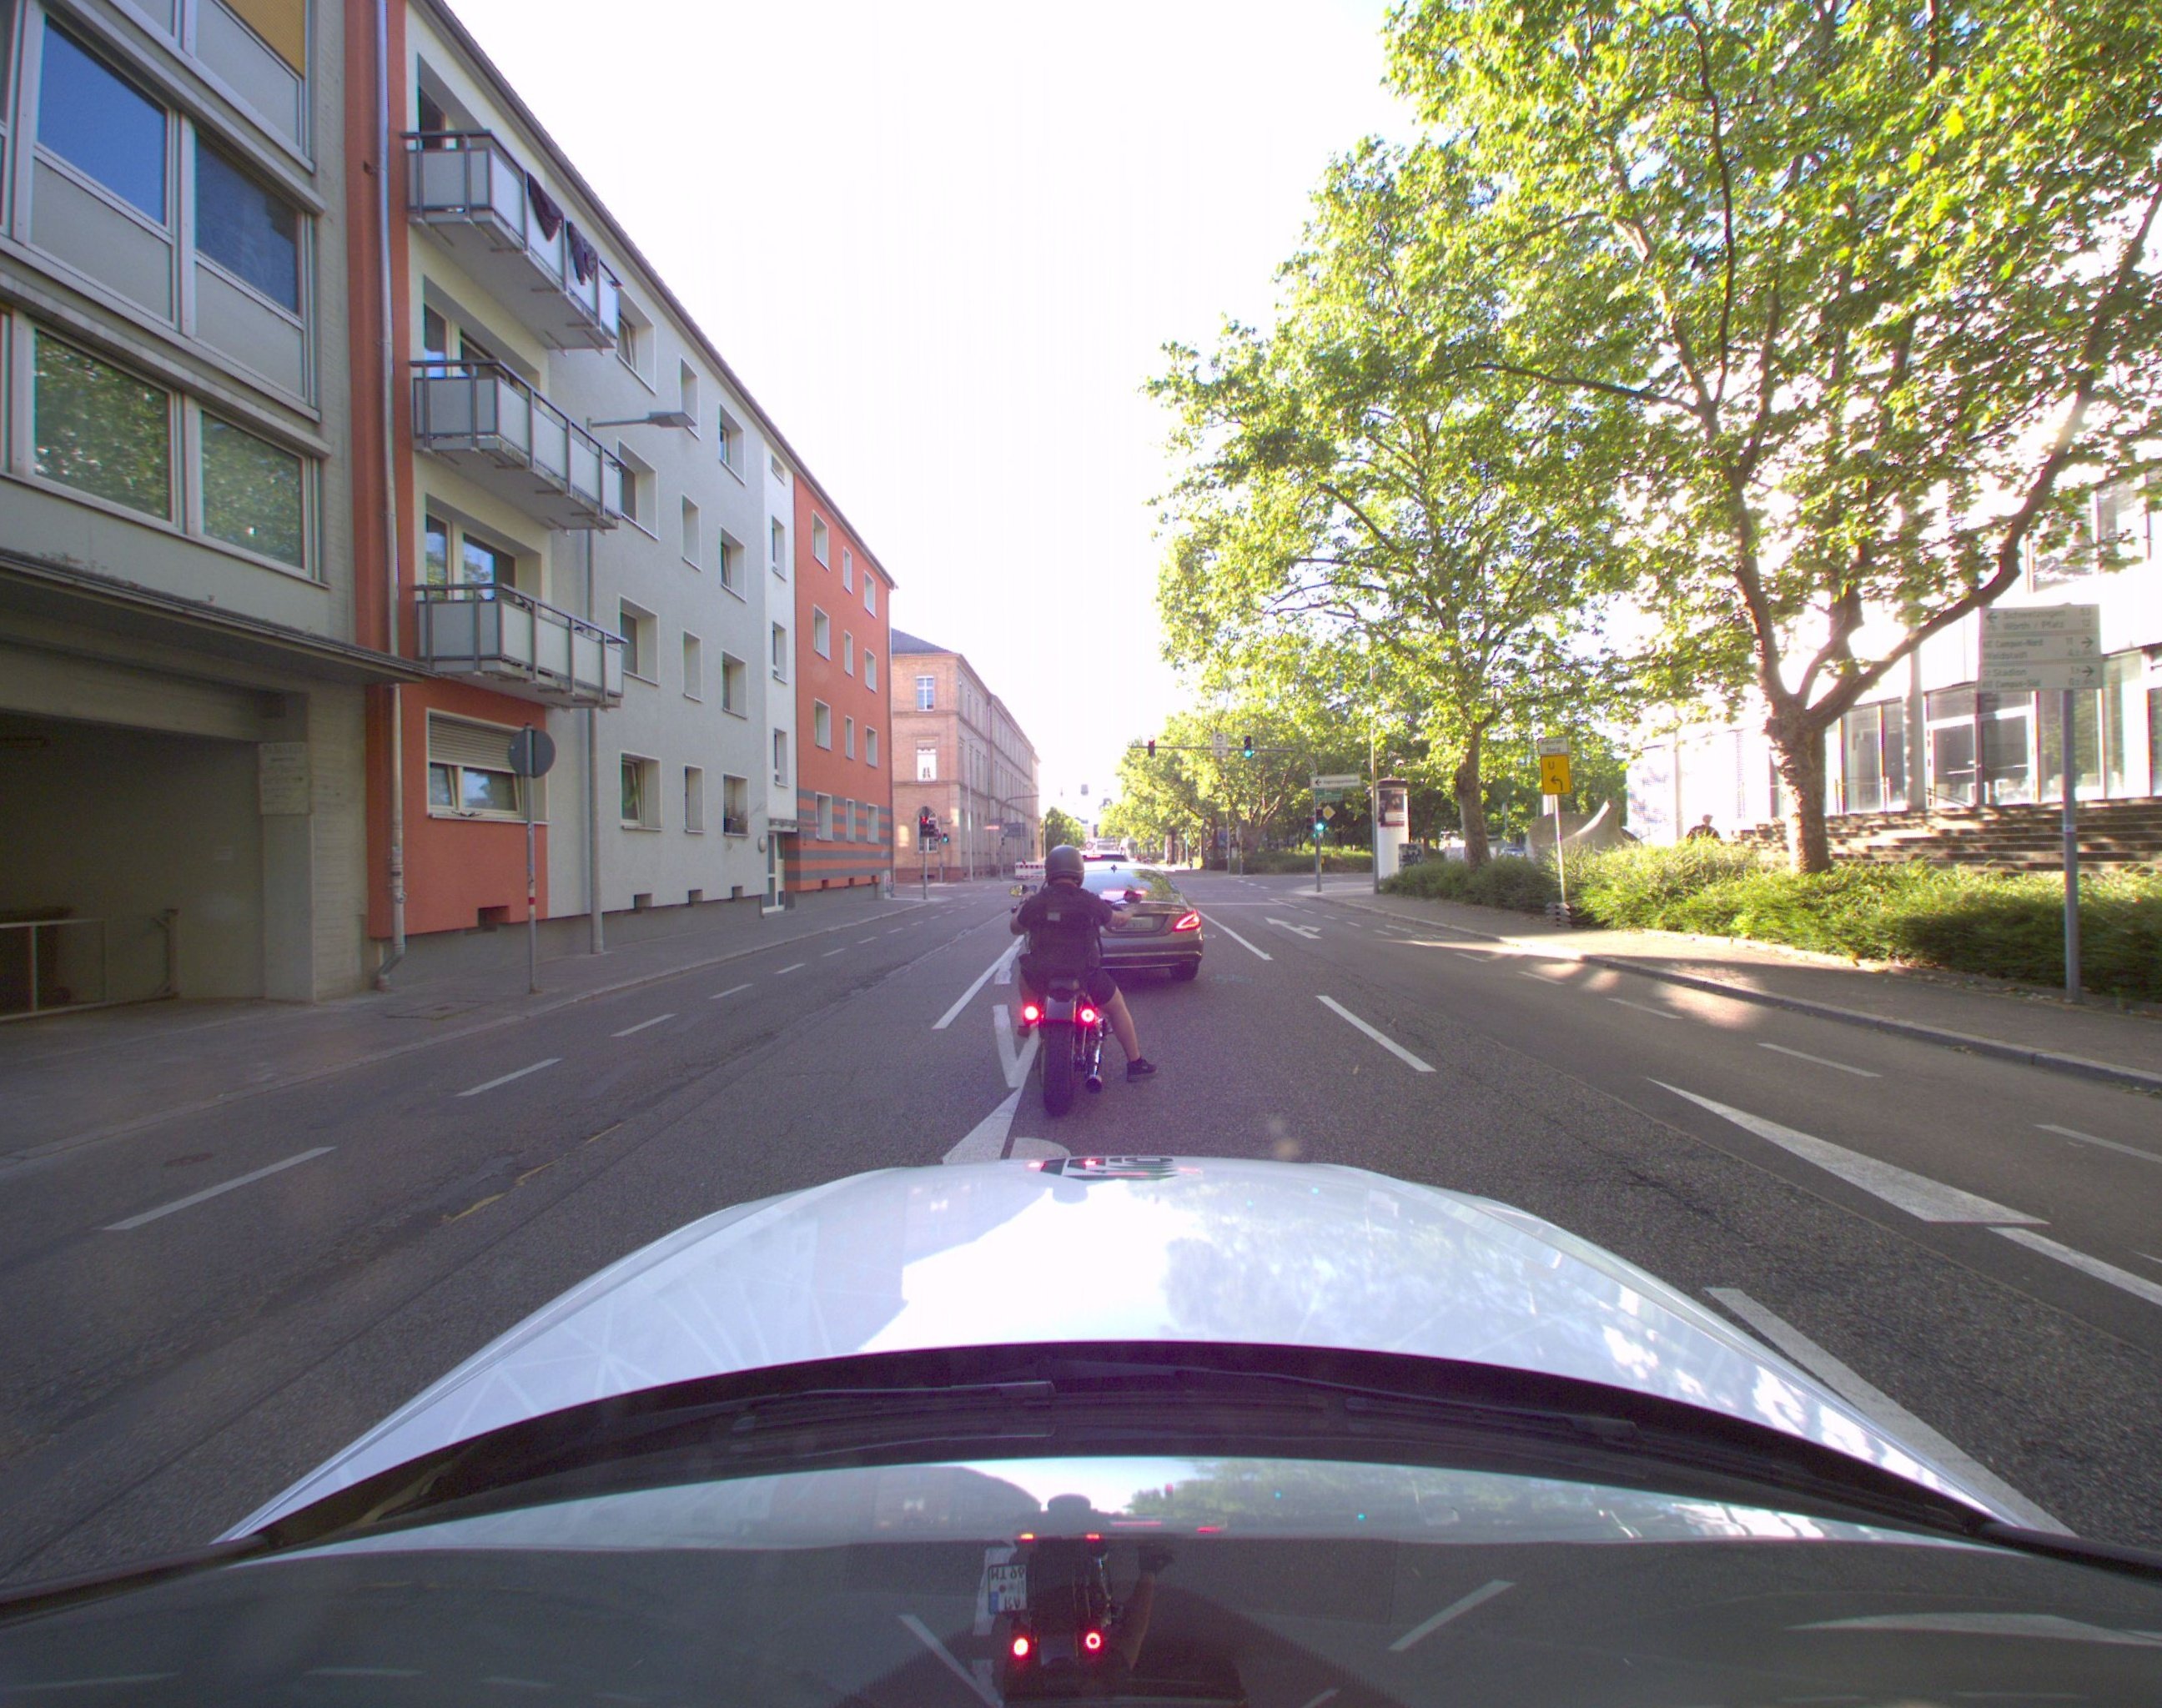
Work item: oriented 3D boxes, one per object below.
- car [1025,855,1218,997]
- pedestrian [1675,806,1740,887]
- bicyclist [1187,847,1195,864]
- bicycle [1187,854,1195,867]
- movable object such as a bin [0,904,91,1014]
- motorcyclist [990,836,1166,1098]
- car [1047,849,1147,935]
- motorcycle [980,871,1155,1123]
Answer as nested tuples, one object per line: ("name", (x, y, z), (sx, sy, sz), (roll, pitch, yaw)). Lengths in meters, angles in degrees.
("car", (0.298, 0.758, 10.778), (1.900, 1.441, 4.279), (-1, 0, -6))
("pedestrian", (14.126, -0.172, 18.381), (0.781, 1.781, 0.862), (-1, 0, 0))
("bicyclist", (10.446, 0.159, 77.487), (0.713, 1.582, 0.937), (0, -1, 5))
("bicycle", (10.439, 0.604, 77.437), (0.712, 1.172, 2.179), (0, -1, 6))
("movable object such as a bin", (-11.324, 1.095, 8.650), (0.736, 1.074, 0.716), (0, -1, 2))
("motorcyclist", (-0.005, 0.688, 5.392), (1.057, 1.582, 0.908), (0, -1, 1))
("car", (0.270, 0.696, 16.897), (1.808, 1.536, 3.847), (-1, 0, -1))
("motorcycle", (-0.040, 0.813, 5.662), (0.958, 1.357, 2.321), (0, -1, 2))
